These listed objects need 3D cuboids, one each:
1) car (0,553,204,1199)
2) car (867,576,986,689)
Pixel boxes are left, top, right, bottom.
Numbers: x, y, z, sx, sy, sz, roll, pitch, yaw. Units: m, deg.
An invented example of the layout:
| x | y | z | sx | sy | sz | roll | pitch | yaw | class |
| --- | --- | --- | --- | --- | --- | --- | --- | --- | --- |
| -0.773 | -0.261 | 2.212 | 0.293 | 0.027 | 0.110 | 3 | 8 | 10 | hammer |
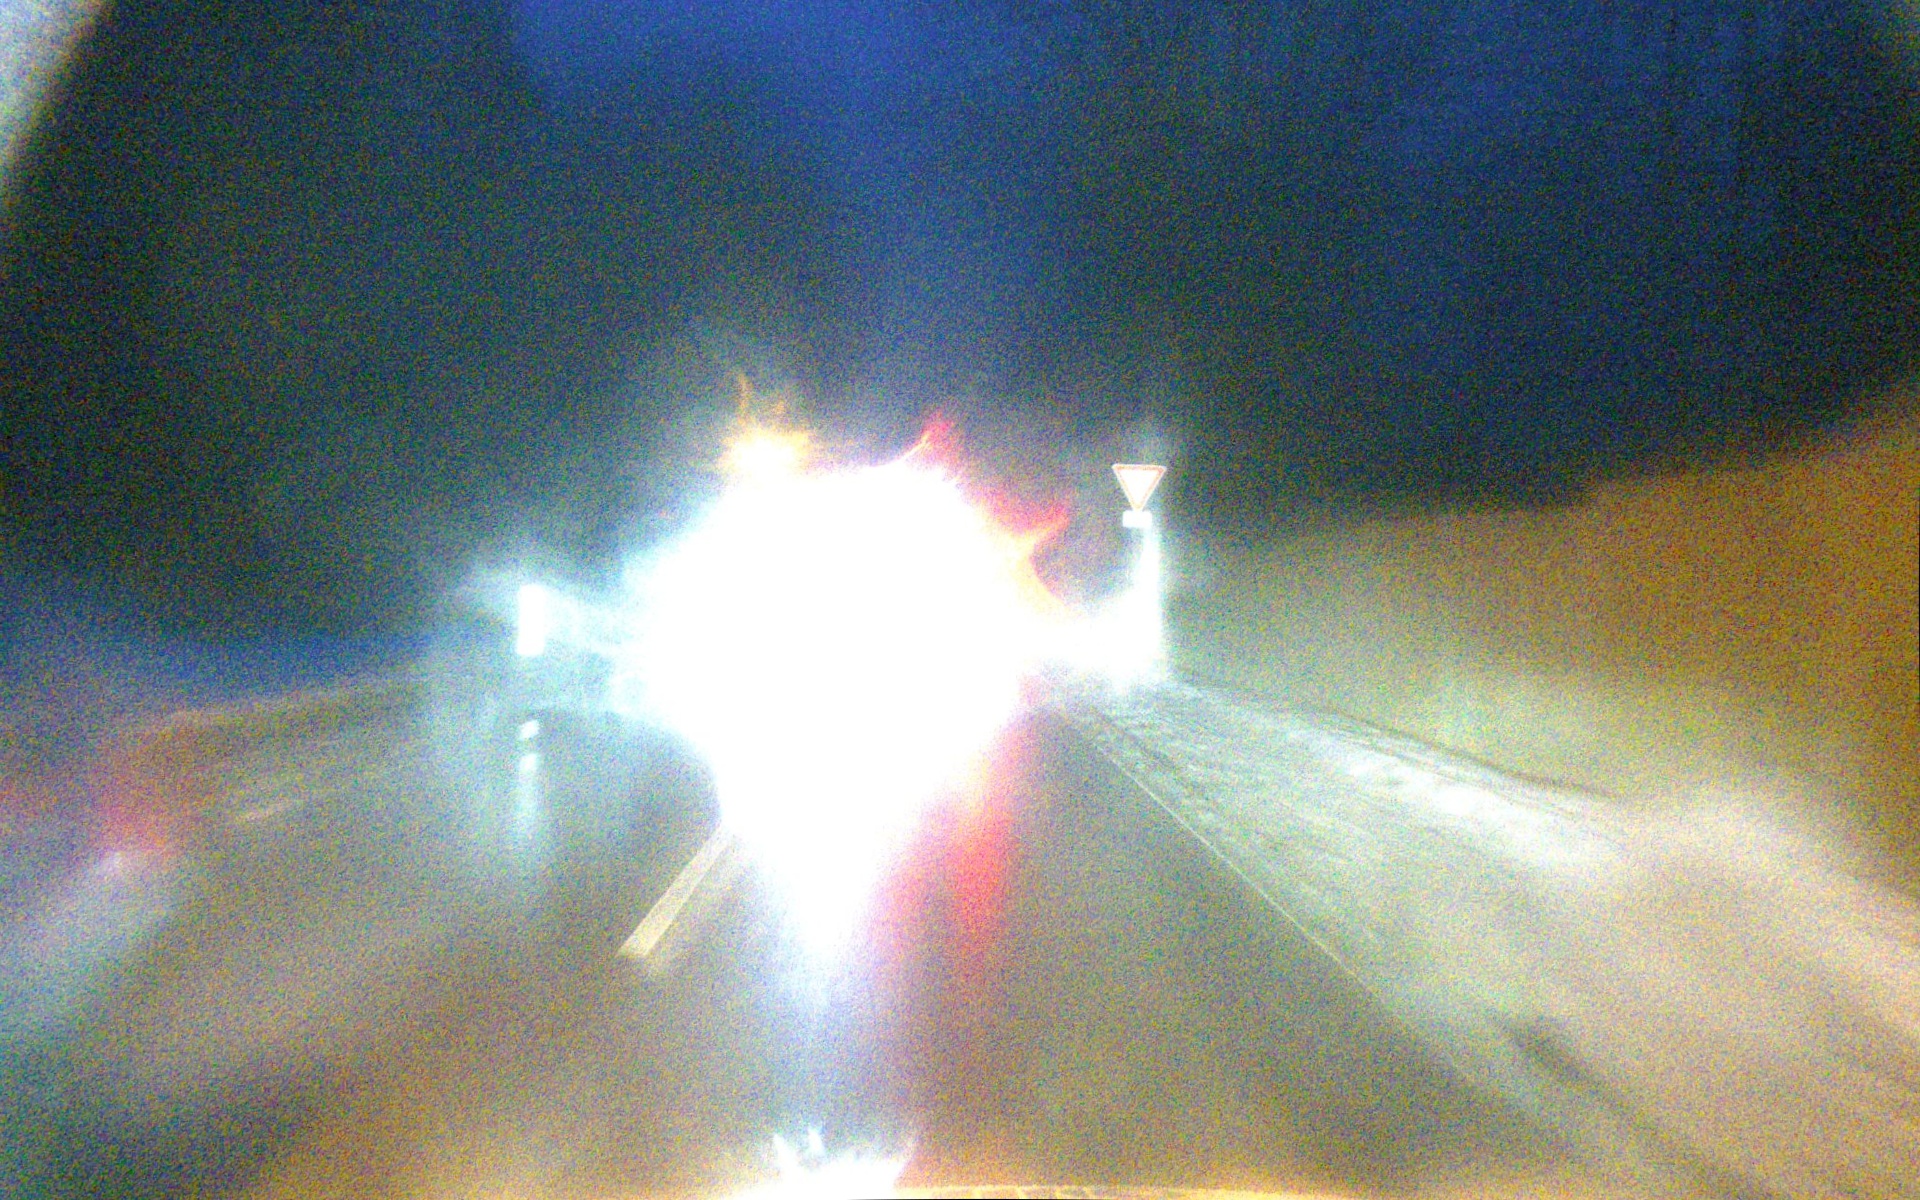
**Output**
| x | y | z | sx | sy | sz | roll | pitch | yaw | class |
| --- | --- | --- | --- | --- | --- | --- | --- | --- | --- |
| -2.912 | 0.649 | 2.586 | 1.697 | 1.545 | 4.014 | 1 | 0 | -2 | car |
| -0.538 | 0.524 | 27.128 | 1.765 | 1.657 | 3.614 | 2 | -1 | -1 | car |
